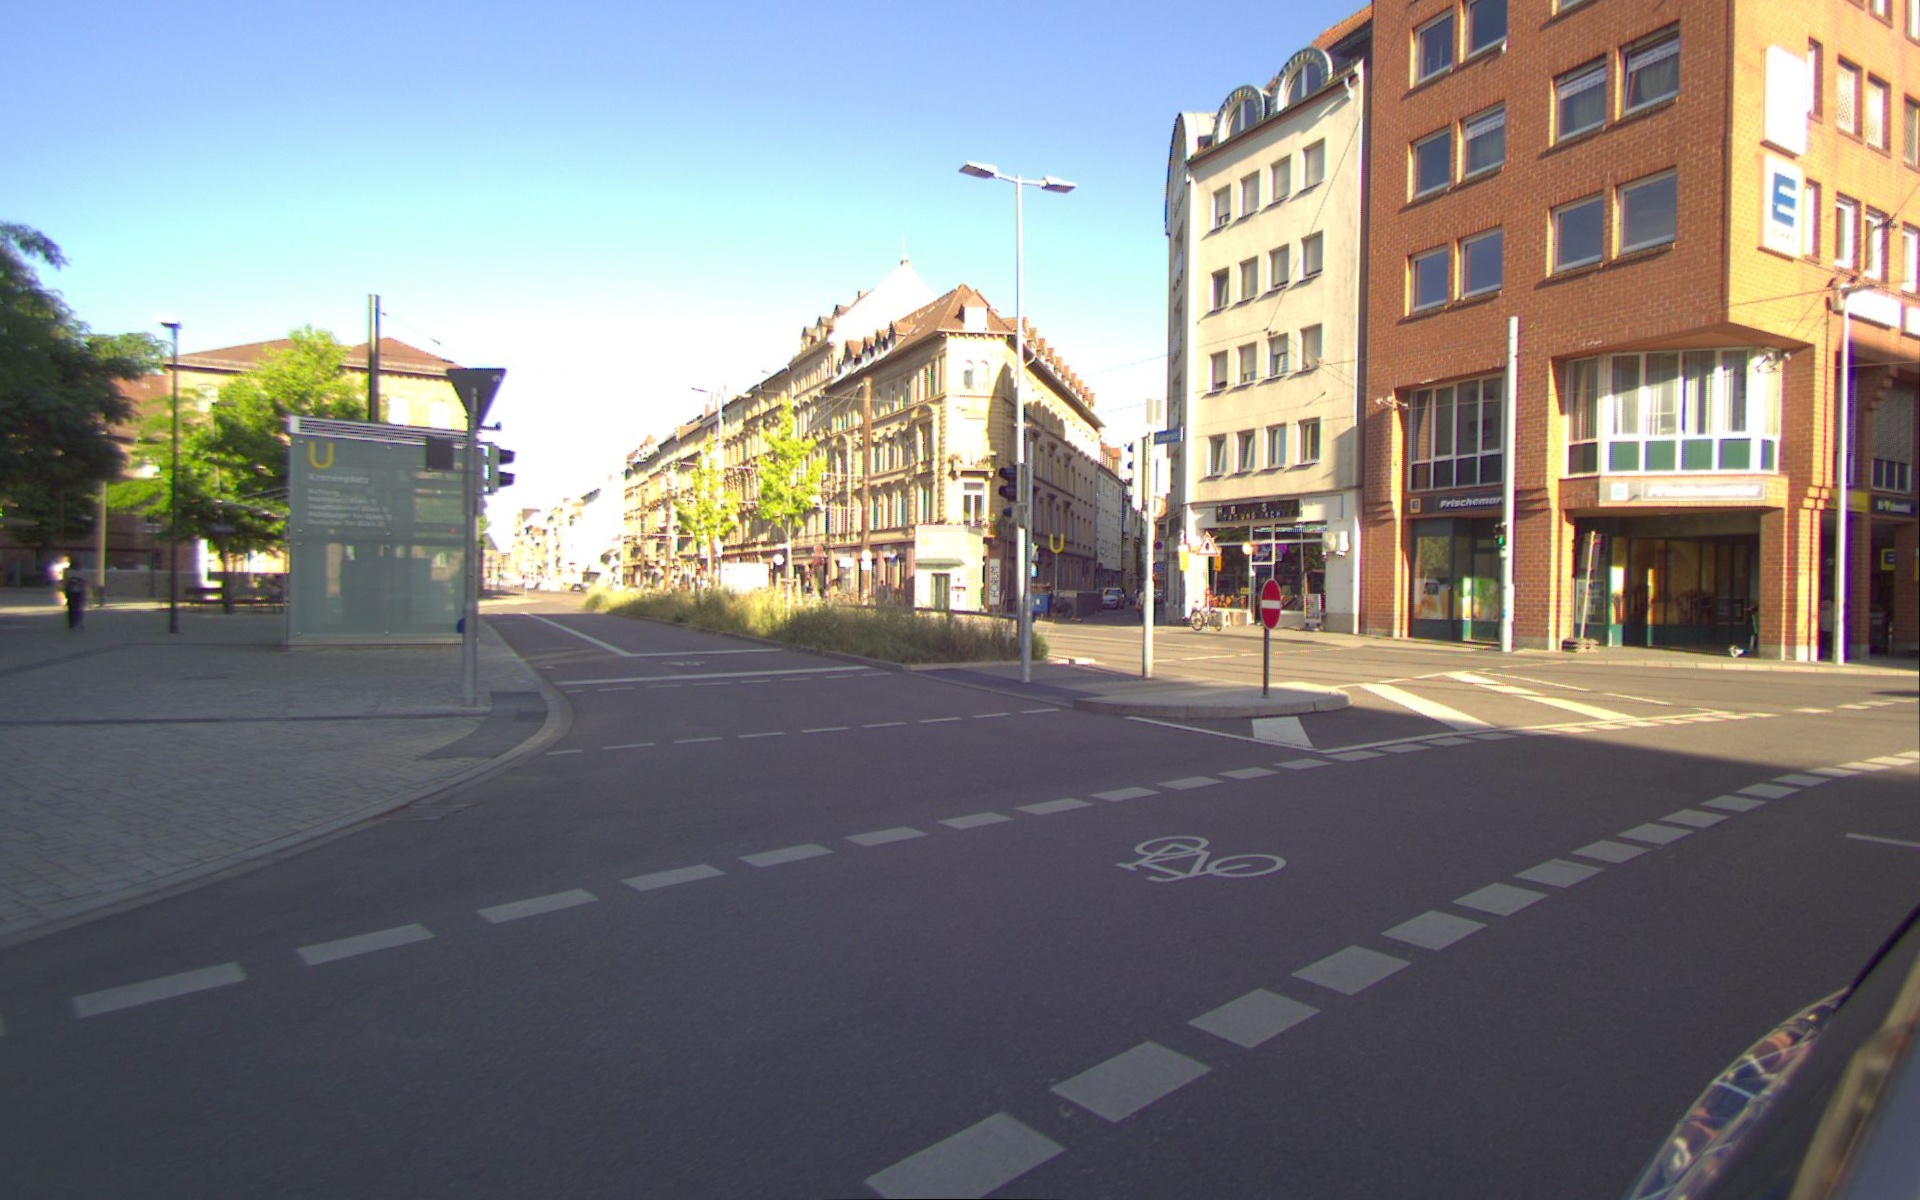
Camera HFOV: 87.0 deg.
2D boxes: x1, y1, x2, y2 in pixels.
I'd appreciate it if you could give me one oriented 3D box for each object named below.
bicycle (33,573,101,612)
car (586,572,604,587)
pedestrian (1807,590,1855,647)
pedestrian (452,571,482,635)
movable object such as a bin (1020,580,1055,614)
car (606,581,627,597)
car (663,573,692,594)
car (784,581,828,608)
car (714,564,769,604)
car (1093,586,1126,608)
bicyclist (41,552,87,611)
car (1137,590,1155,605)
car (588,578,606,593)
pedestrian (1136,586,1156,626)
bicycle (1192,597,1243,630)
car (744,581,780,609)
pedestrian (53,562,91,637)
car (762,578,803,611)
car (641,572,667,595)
[{"bbox_3d":[-30.734,-0.251,34.824,2.189,1.268,0.893,1,-1,24],"label":"bicycle"},{"bbox_3d":[-56.319,-3.120,156.020,2.189,2.039,4.350,0,-1,-25],"label":"car"},{"bbox_3d":[25.212,0.515,29.298,0.836,1.610,0.749,1,-1,23],"label":"pedestrian"},{"bbox_3d":[-13.237,0.070,27.171,0.622,1.692,0.755,1,0,-33],"label":"pedestrian"},{"bbox_3d":[4.118,-0.140,53.830,1.625,1.806,1.396,-1,-1,14],"label":"movable object such as a bin"},{"bbox_3d":[-45.845,-1.440,134.999,2.189,2.039,4.350,0,-1,-25],"label":"car"},{"bbox_3d":[-28.939,-1.644,103.497,2.189,2.039,4.350,0,-1,-25],"label":"car"},{"bbox_3d":[-9.870,-0.396,64.644,1.692,1.630,3.935,0,1,-26],"label":"car"},{"bbox_3d":[-17.248,-1.277,79.685,2.237,3.060,5.363,0,1,-37],"label":"car"},{"bbox_3d":[11.098,-0.211,74.838,1.706,1.541,3.974,1,0,19],"label":"car"},{"bbox_3d":[-30.886,-0.627,34.898,0.778,1.974,0.893,1,-1,23],"label":"bicyclist"},{"bbox_3d":[17.259,-0.231,93.888,1.402,1.277,2.944,1,-1,14],"label":"car"},{"bbox_3d":[-54.277,-2.151,151.340,2.189,2.039,4.350,0,-1,-25],"label":"car"},{"bbox_3d":[7.731,0.237,42.068,0.680,1.658,0.961,0,1,3],"label":"pedestrian"},{"bbox_3d":[8.384,0.427,33.009,0.450,1.003,1.868,-1,1,-28],"label":"bicycle"},{"bbox_3d":[-14.648,-0.398,74.722,1.692,1.997,3.935,0,1,-26],"label":"car"},{"bbox_3d":[-20.219,-0.014,23.049,0.496,1.692,0.477,1,0,-25],"label":"pedestrian"},{"bbox_3d":[-12.329,-0.414,70.188,1.775,2.208,3.935,0,1,-26],"label":"car"},{"bbox_3d":[-34.617,-1.862,114.387,2.189,2.414,4.350,0,-1,-25],"label":"car"}]
